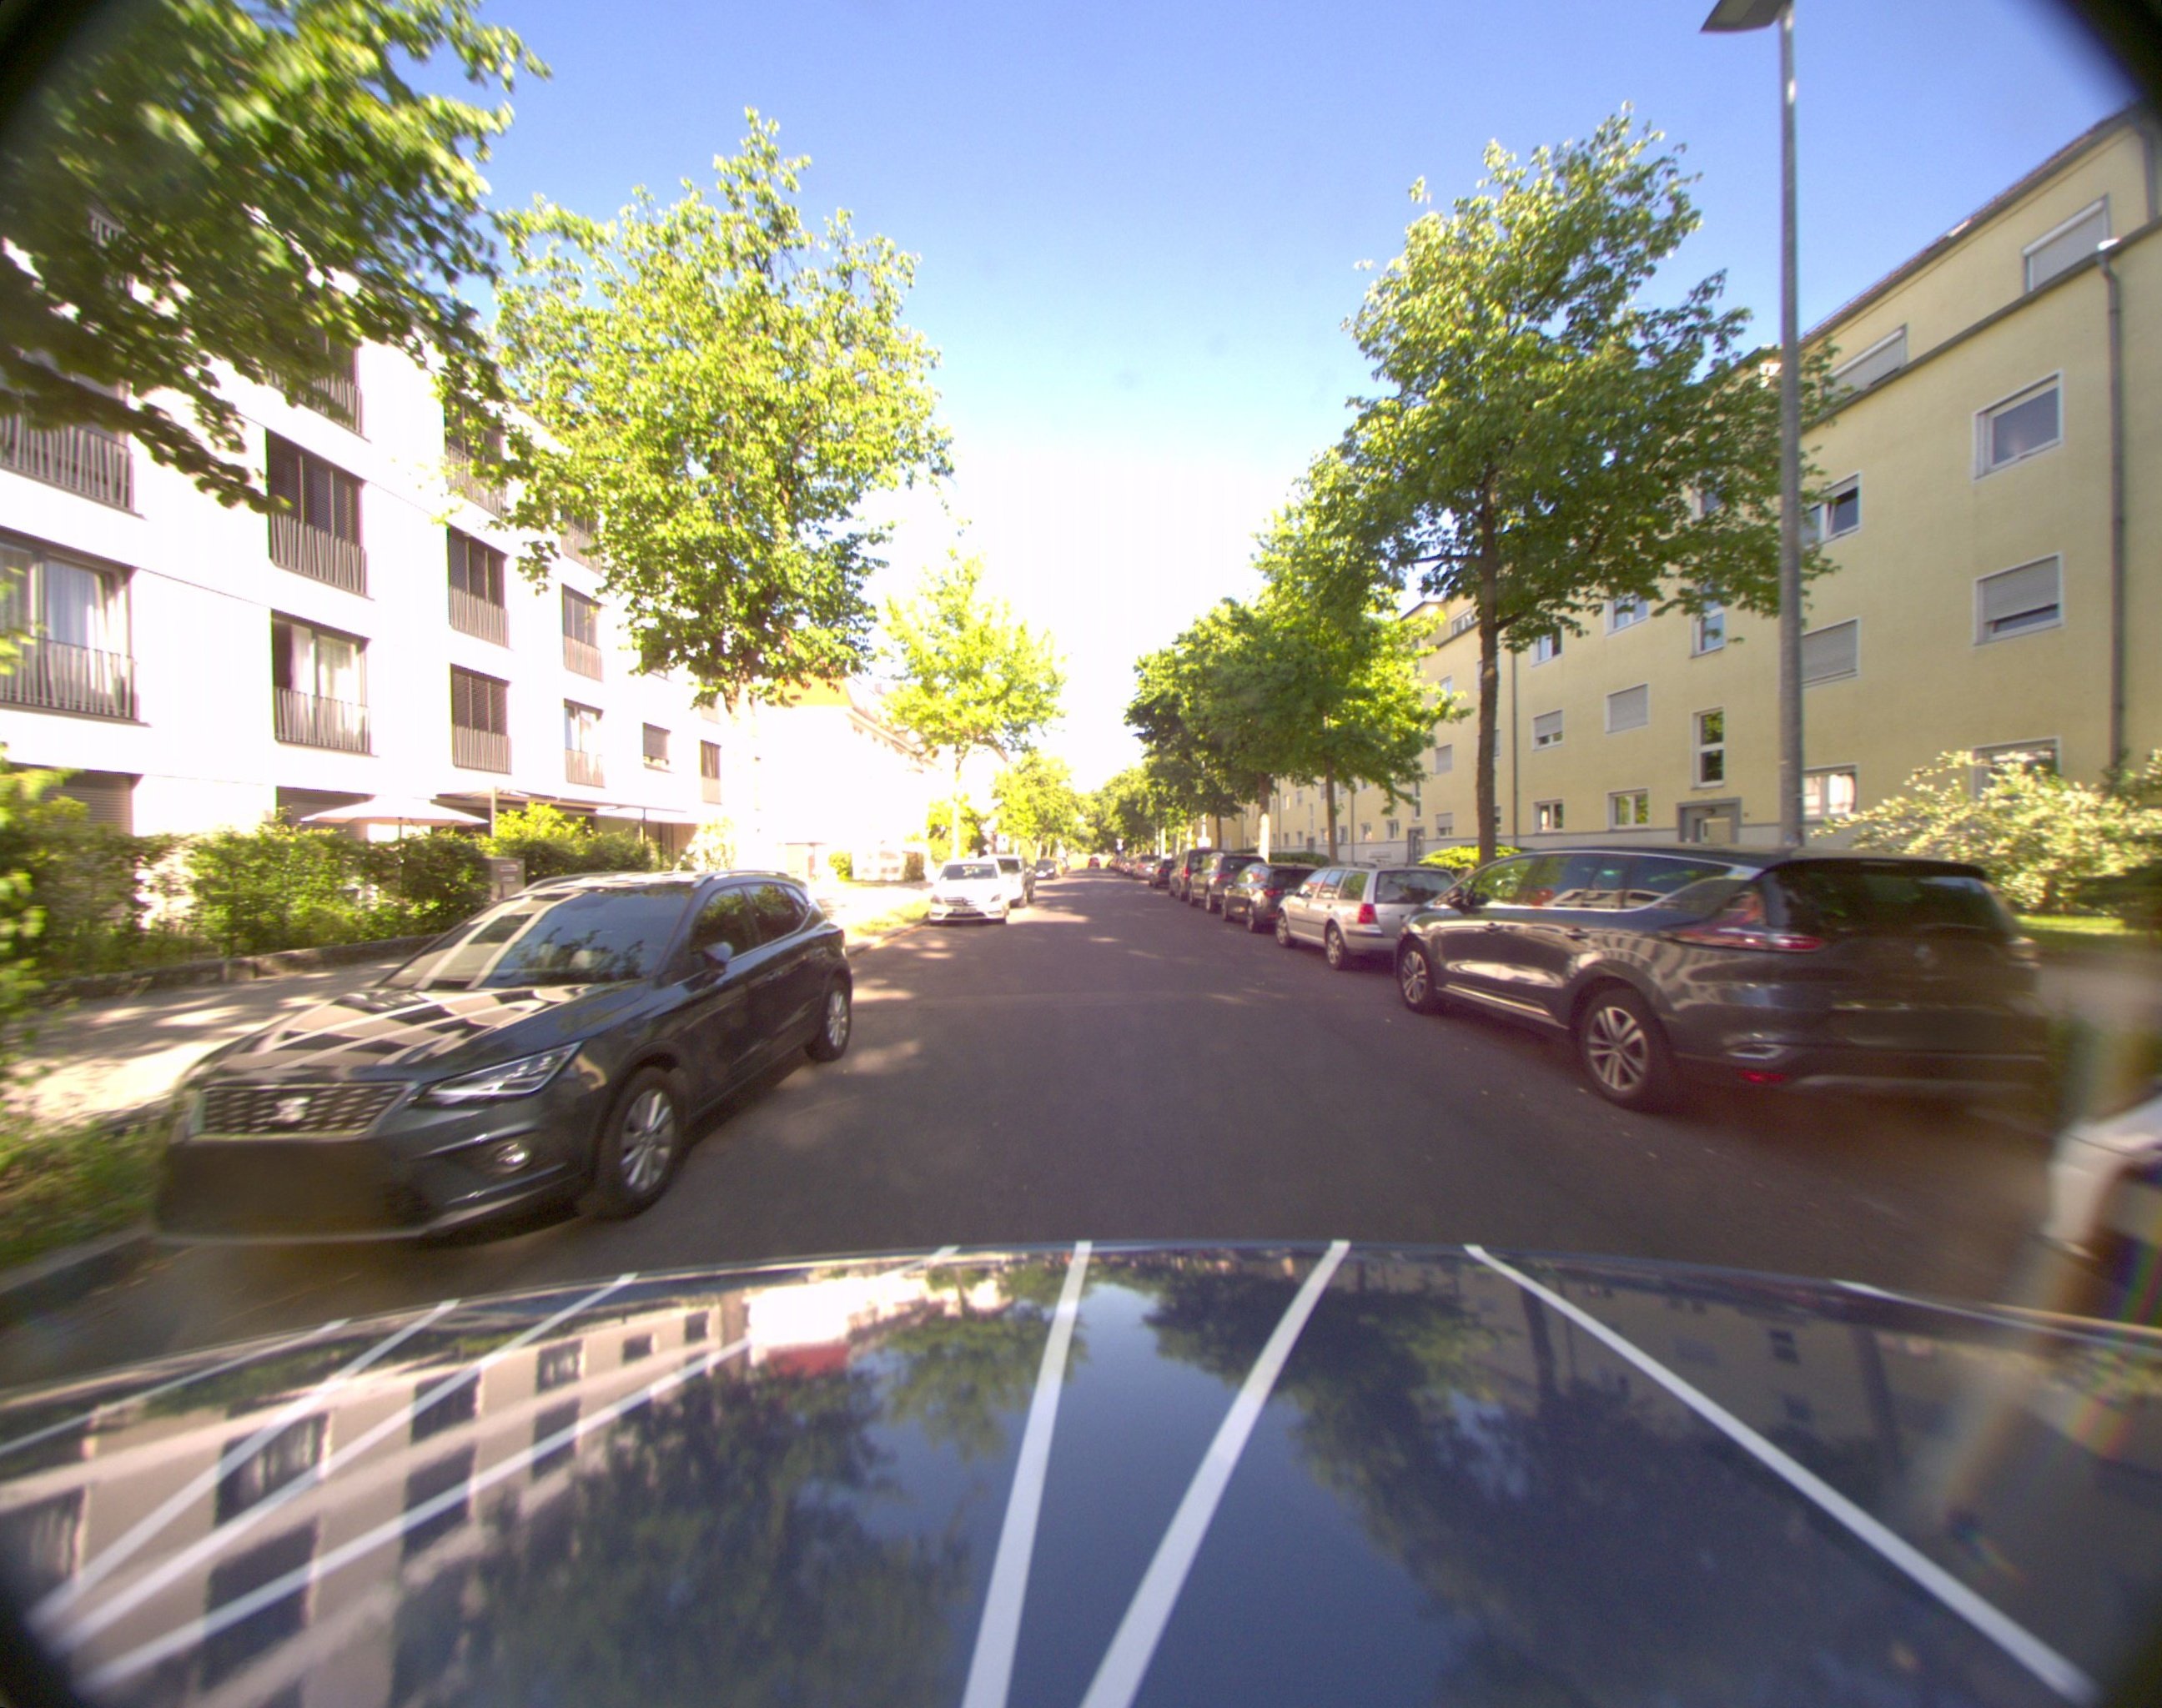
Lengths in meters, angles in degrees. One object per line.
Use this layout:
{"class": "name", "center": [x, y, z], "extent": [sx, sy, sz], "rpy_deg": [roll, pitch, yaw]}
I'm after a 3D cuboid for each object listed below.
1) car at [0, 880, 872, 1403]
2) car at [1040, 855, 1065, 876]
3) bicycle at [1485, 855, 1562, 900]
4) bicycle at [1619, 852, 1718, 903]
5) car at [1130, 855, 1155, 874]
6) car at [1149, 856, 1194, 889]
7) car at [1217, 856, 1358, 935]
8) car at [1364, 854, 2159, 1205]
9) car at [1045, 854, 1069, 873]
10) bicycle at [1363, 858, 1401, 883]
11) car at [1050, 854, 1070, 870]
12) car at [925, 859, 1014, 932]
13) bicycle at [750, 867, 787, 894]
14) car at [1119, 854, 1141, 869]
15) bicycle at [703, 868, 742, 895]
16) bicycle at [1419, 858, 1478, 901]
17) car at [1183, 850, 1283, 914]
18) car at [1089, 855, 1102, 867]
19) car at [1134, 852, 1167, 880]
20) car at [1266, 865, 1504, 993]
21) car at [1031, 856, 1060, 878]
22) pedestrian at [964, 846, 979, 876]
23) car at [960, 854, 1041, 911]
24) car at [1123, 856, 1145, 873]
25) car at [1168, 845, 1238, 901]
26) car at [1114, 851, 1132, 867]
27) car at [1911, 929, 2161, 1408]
{"class": "car", "center": [-2.792, 1.010, 4.622], "extent": [1.722, 1.507, 4.344], "rpy_deg": [-1, 0, 1]}
{"class": "car", "center": [-2.104, 0.838, 56.597], "extent": [1.670, 1.456, 3.536], "rpy_deg": [0, 0, 2]}
{"class": "bicycle", "center": [12.370, 0.650, 21.266], "extent": [1.826, 1.218, 0.517], "rpy_deg": [-1, 1, 1]}
{"class": "bicycle", "center": [14.944, 0.590, 19.355], "extent": [1.957, 1.218, 0.777], "rpy_deg": [-1, 1, -2]}
{"class": "car", "center": [4.755, 0.792, 59.156], "extent": [1.606, 1.382, 3.812], "rpy_deg": [-1, 0, 0]}
{"class": "car", "center": [4.477, 0.878, 38.177], "extent": [1.780, 1.462, 4.063], "rpy_deg": [2, 0, 1]}
{"class": "car", "center": [4.260, 0.782, 16.463], "extent": [1.798, 1.443, 4.489], "rpy_deg": [0, 0, 0]}
{"class": "car", "center": [4.163, 0.833, 6.137], "extent": [1.846, 1.647, 5.087], "rpy_deg": [0, 0, 0]}
{"class": "car", "center": [-1.937, 0.772, 62.072], "extent": [1.670, 1.456, 3.674], "rpy_deg": [0, 0, 2]}
{"class": "bicycle", "center": [11.136, 0.596, 28.162], "extent": [0.596, 0.911, 1.903], "rpy_deg": [0, 0, -1]}
{"class": "car", "center": [-1.938, 0.732, 71.928], "extent": [1.670, 1.456, 3.536], "rpy_deg": [0, 0, 2]}
{"class": "car", "center": [-2.642, 0.922, 19.012], "extent": [1.786, 1.509, 4.685], "rpy_deg": [-1, 0, -4]}
{"class": "bicycle", "center": [-10.849, 0.905, 26.420], "extent": [0.564, 0.889, 1.609], "rpy_deg": [-1, 0, 1]}
{"class": "car", "center": [4.801, 0.709, 75.101], "extent": [1.805, 1.470, 3.999], "rpy_deg": [-1, 0, -2]}
{"class": "bicycle", "center": [-12.417, 0.942, 26.377], "extent": [0.564, 0.889, 1.609], "rpy_deg": [-1, 0, 1]}
{"class": "bicycle", "center": [10.632, 0.705, 22.079], "extent": [0.596, 1.183, 2.260], "rpy_deg": [0, 0, -1]}
{"class": "car", "center": [4.281, 0.721, 22.165], "extent": [1.798, 1.676, 4.525], "rpy_deg": [0, 0, -3]}
{"class": "car", "center": [1.875, 0.931, 98.334], "extent": [1.665, 1.456, 3.447], "rpy_deg": [0, 0, 2]}
{"class": "car", "center": [4.537, 0.729, 49.955], "extent": [1.864, 1.718, 4.000], "rpy_deg": [1, 0, 1]}
{"class": "car", "center": [4.230, 0.941, 11.442], "extent": [1.711, 1.472, 4.489], "rpy_deg": [0, 0, -1]}
{"class": "car", "center": [-2.393, 0.852, 51.818], "extent": [1.670, 1.456, 3.536], "rpy_deg": [0, 0, 2]}
{"class": "pedestrian", "center": [-7.421, 0.480, 51.482], "extent": [0.907, 2.002, 1.006], "rpy_deg": [0, 1, 1]}
{"class": "car", "center": [-2.489, 0.842, 24.780], "extent": [1.901, 1.638, 4.862], "rpy_deg": [-1, 0, 2]}
{"class": "car", "center": [4.416, 0.847, 63.644], "extent": [1.606, 1.382, 3.812], "rpy_deg": [-1, 0, 0]}
{"class": "car", "center": [4.310, 0.632, 27.568], "extent": [1.798, 1.839, 4.866], "rpy_deg": [0, 0, 0]}
{"class": "car", "center": [4.717, 0.536, 85.446], "extent": [1.713, 1.752, 3.712], "rpy_deg": [-1, 1, 0]}
{"class": "car", "center": [4.084, 0.980, 0.861], "extent": [1.658, 1.365, 4.188], "rpy_deg": [0, 0, -1]}
